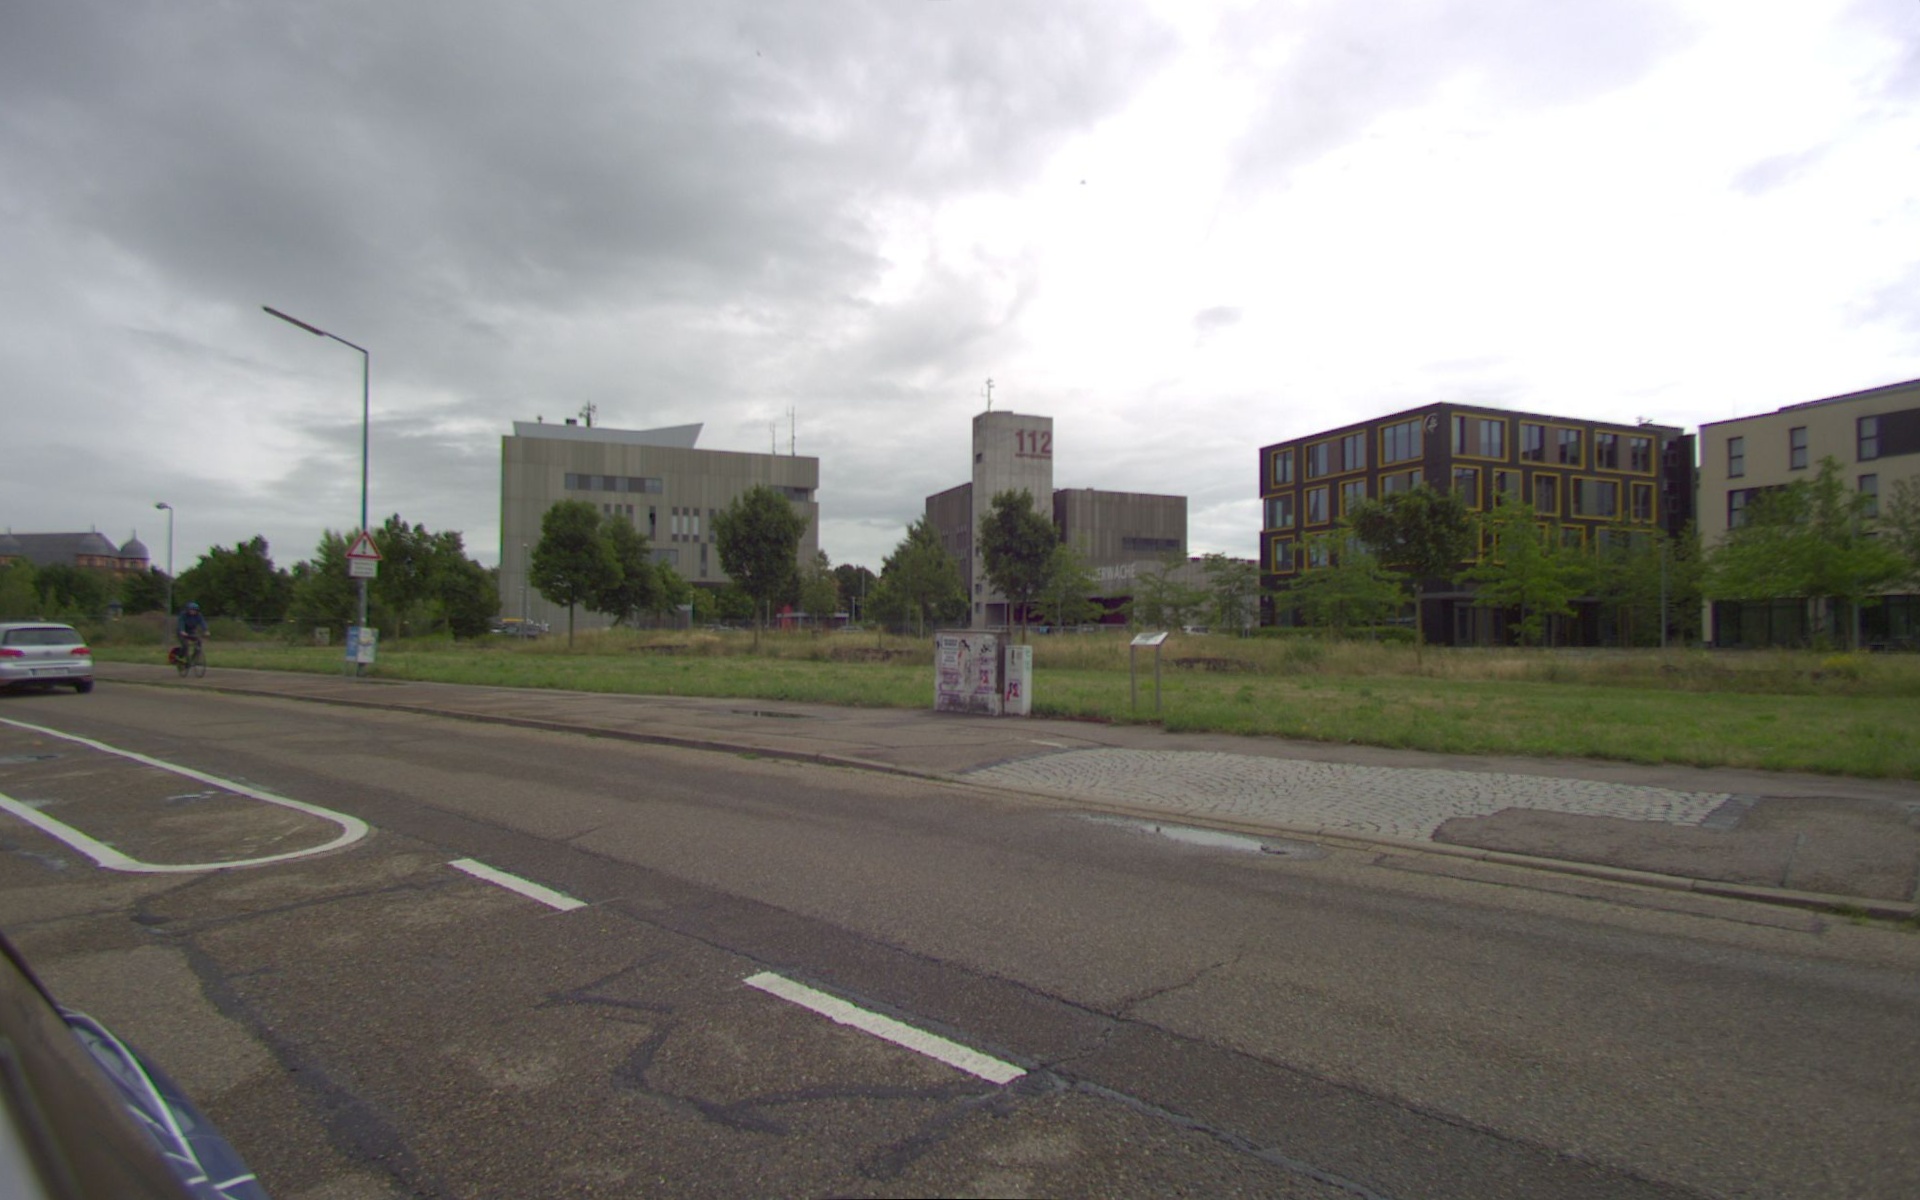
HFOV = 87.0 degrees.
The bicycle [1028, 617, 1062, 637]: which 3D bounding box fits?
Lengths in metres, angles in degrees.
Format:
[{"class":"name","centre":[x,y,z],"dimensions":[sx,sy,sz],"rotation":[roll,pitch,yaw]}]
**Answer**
[{"class":"bicycle","centre":[6.918,2.202,82.318],"dimensions":[2.456,1.596,1.090],"rotation":[0,-3,-24]}]

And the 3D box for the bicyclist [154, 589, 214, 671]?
[{"class":"bicyclist","centre":[-19.781,0.774,25.801],"dimensions":[1.174,2.029,0.854],"rotation":[-2,-3,34]}]

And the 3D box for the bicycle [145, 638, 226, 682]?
[{"class":"bicycle","centre":[-19.718,1.512,25.739],"dimensions":[2.462,1.060,0.876],"rotation":[-2,-3,34]}]

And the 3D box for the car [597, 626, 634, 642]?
[{"class":"car","centre":[-39.279,3.875,115.452],"dimensions":[3.821,1.775,1.733],"rotation":[0,-2,-22]}]

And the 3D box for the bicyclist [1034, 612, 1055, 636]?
[{"class":"bicyclist","centre":[6.874,1.969,82.351],"dimensions":[1.378,1.914,1.081],"rotation":[0,-3,-24]}]

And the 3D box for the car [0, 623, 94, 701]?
[{"class":"car","centre":[-19.851,1.256,21.163],"dimensions":[4.046,1.473,1.658],"rotation":[-2,0,35]}]
